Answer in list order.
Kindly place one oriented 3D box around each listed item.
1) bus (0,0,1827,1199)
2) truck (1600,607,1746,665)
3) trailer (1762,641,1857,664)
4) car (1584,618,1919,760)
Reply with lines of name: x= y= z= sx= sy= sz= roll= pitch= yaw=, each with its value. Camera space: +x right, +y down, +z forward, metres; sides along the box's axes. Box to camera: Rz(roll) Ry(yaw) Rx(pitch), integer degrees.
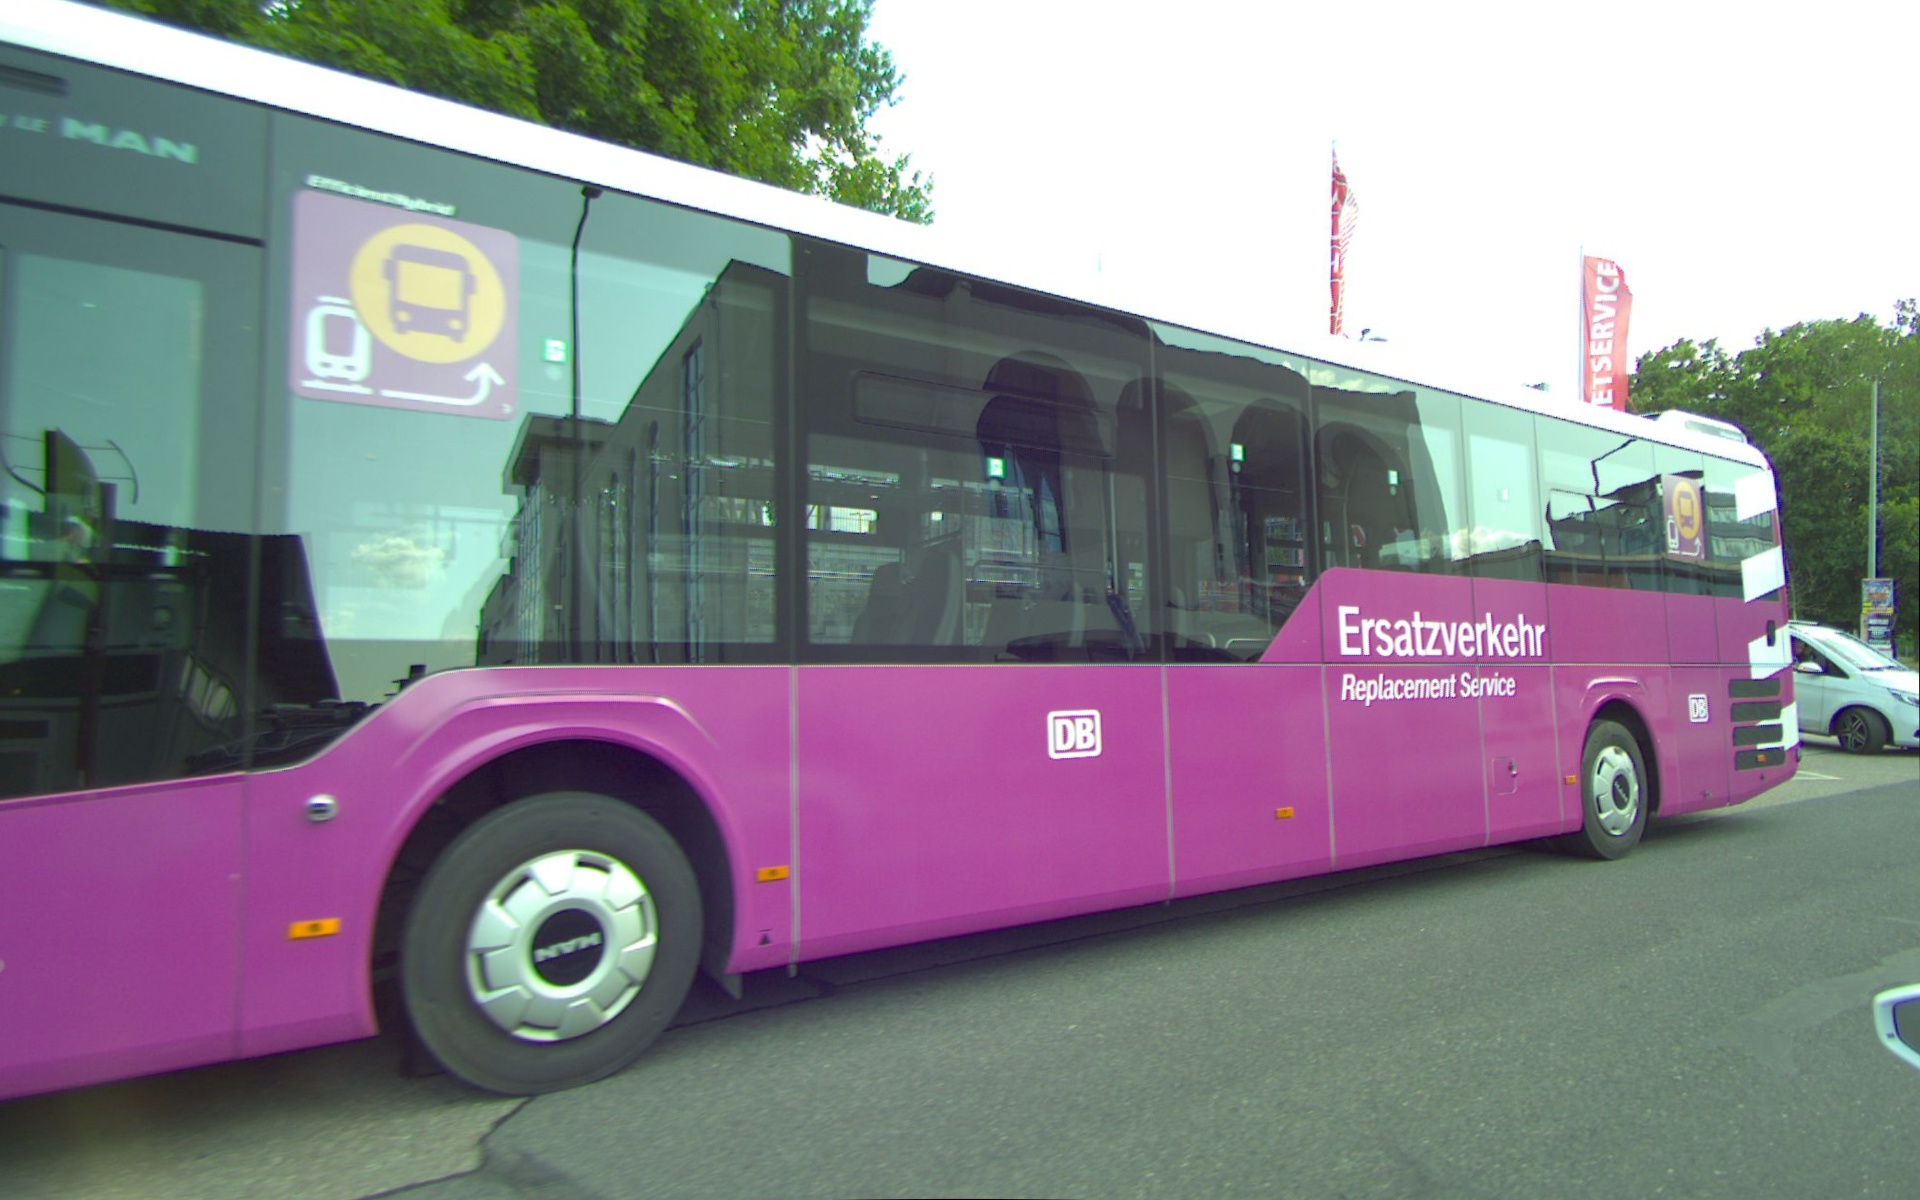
bus: x=1.252 y=0.008 z=6.434 sx=13.072 sy=3.466 sz=2.650 roll=2 pitch=-5 yaw=-32
truck: x=34.484 y=1.695 z=48.755 sx=1.759 sy=2.627 sz=5.520 roll=4 pitch=-2 yaw=-30
trailer: x=48.499 y=2.977 z=57.433 sx=1.692 sy=1.206 sz=3.805 roll=1 pitch=-1 yaw=-25
car: x=13.437 y=1.310 z=16.684 sx=1.965 sy=1.975 sz=4.985 roll=1 pitch=-1 yaw=-25
